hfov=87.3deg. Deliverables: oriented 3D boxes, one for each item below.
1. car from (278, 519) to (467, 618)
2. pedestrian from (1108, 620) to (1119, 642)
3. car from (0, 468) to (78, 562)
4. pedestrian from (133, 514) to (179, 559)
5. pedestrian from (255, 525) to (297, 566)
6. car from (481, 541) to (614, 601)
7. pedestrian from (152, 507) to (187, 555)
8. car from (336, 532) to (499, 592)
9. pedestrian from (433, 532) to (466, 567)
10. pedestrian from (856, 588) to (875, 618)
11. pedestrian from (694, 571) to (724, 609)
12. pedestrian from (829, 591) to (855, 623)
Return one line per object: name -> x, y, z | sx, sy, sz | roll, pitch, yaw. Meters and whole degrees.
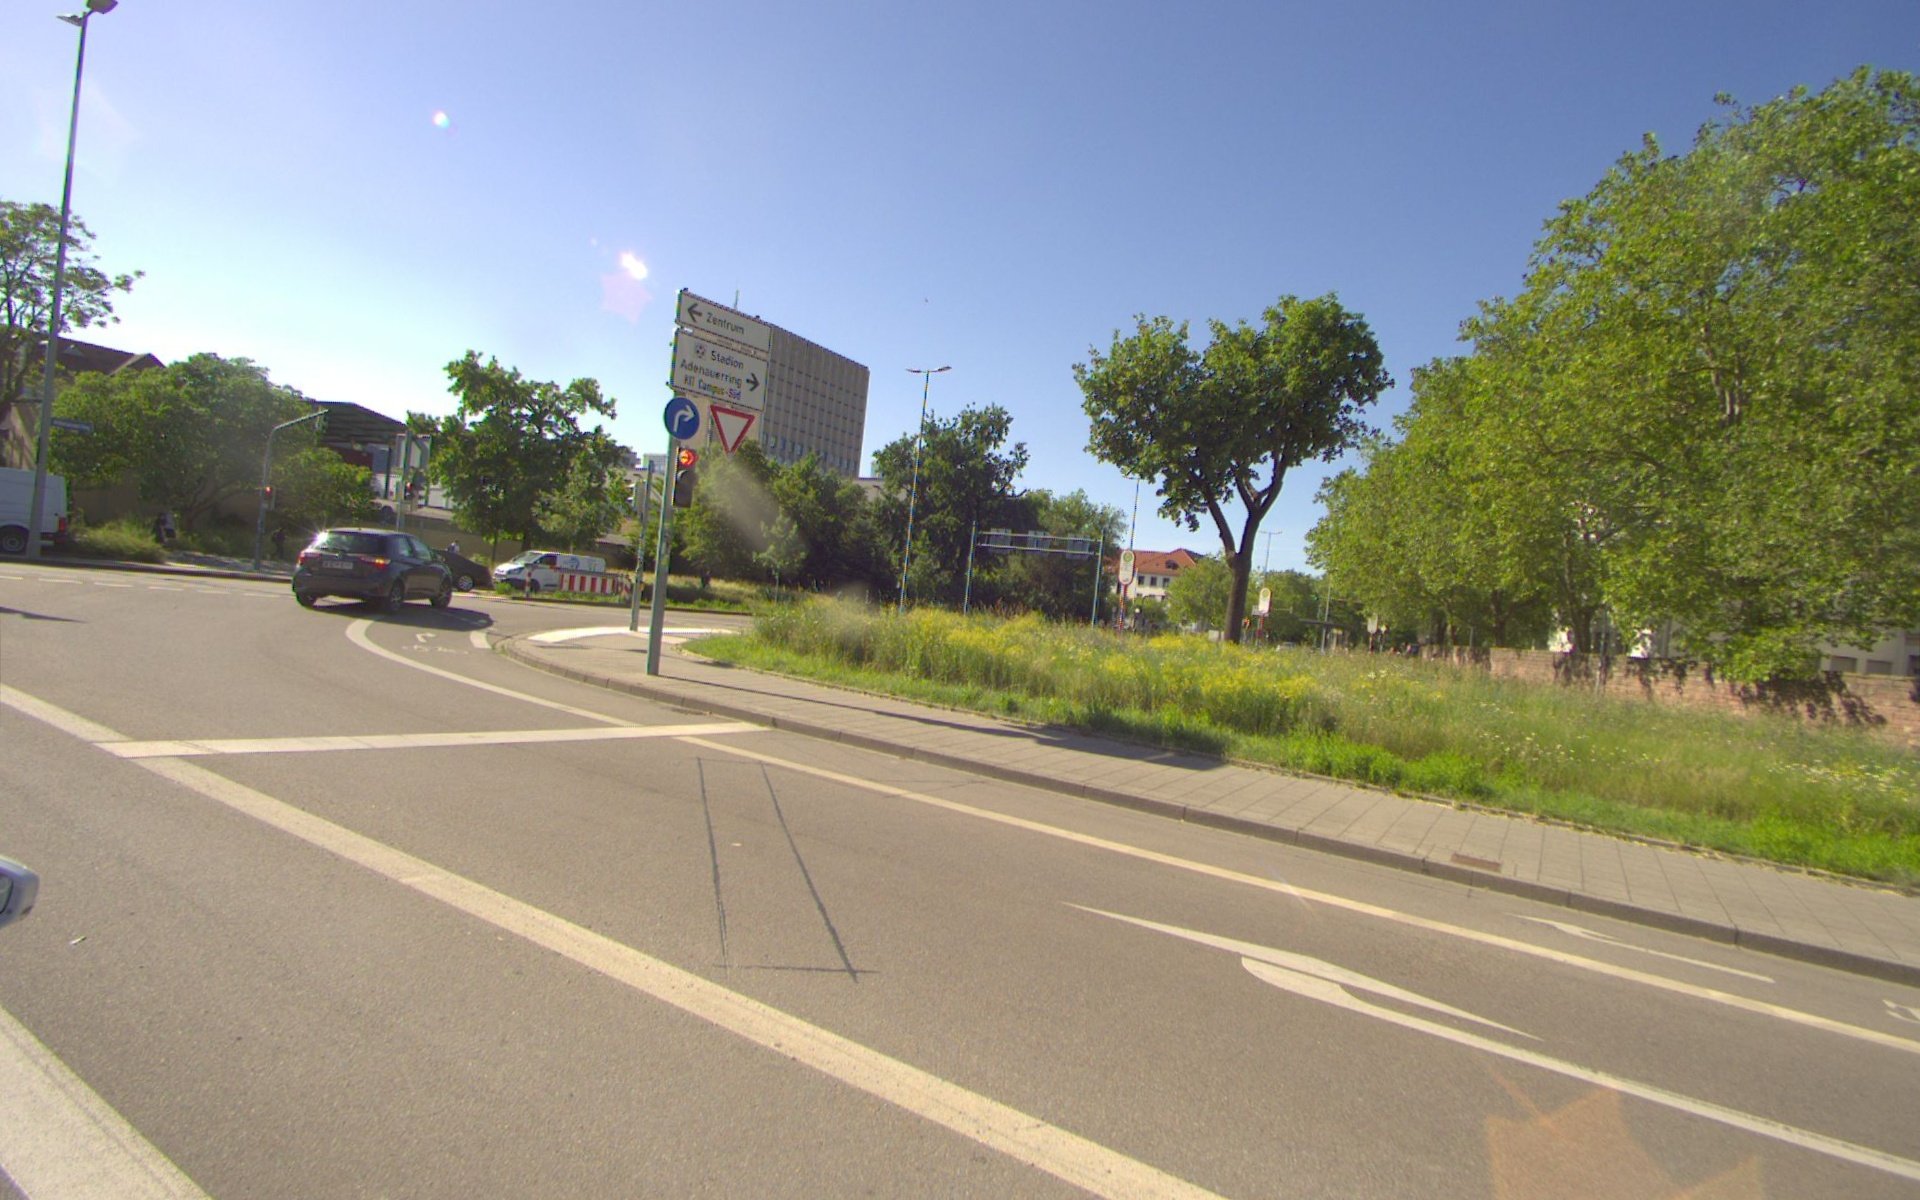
car -> -11.387, -0.602, 19.833 | 1.713, 1.535, 3.992 | 8, 1, -8
pedestrian -> 15.634, 3.145, 102.460 | 0.633, 2.194, 0.912 | 7, 1, 35
car -> -30.742, -2.880, 29.451 | 2.970, 2.578, 6.926 | 7, 0, 40
pedestrian -> -30.259, -2.383, 37.876 | 0.865, 1.540, 1.074 | 7, 1, 36
pedestrian -> -28.888, -2.308, 42.497 | 0.927, 1.540, 1.146 | 7, 1, 37
car -> -18.258, -1.235, 44.716 | 2.040, 2.038, 4.999 | 7, 0, 36
pedestrian -> -31.590, -2.761, 40.185 | 0.959, 1.754, 0.915 | 6, 1, -40
car -> -20.086, -1.365, 37.426 | 2.070, 1.601, 4.840 | 7, 0, 37
pedestrian -> -24.236, -2.394, 47.796 | 0.871, 1.540, 0.971 | 7, 1, 35
pedestrian -> -6.985, 0.210, 74.231 | 0.800, 2.106, 0.896 | 7, 1, 35
pedestrian -> -14.874, -0.597, 59.596 | 0.966, 2.106, 1.186 | 7, 1, 35
pedestrian -> -8.294, 0.505, 70.647 | 1.065, 2.106, 1.231 | 7, 1, 35
